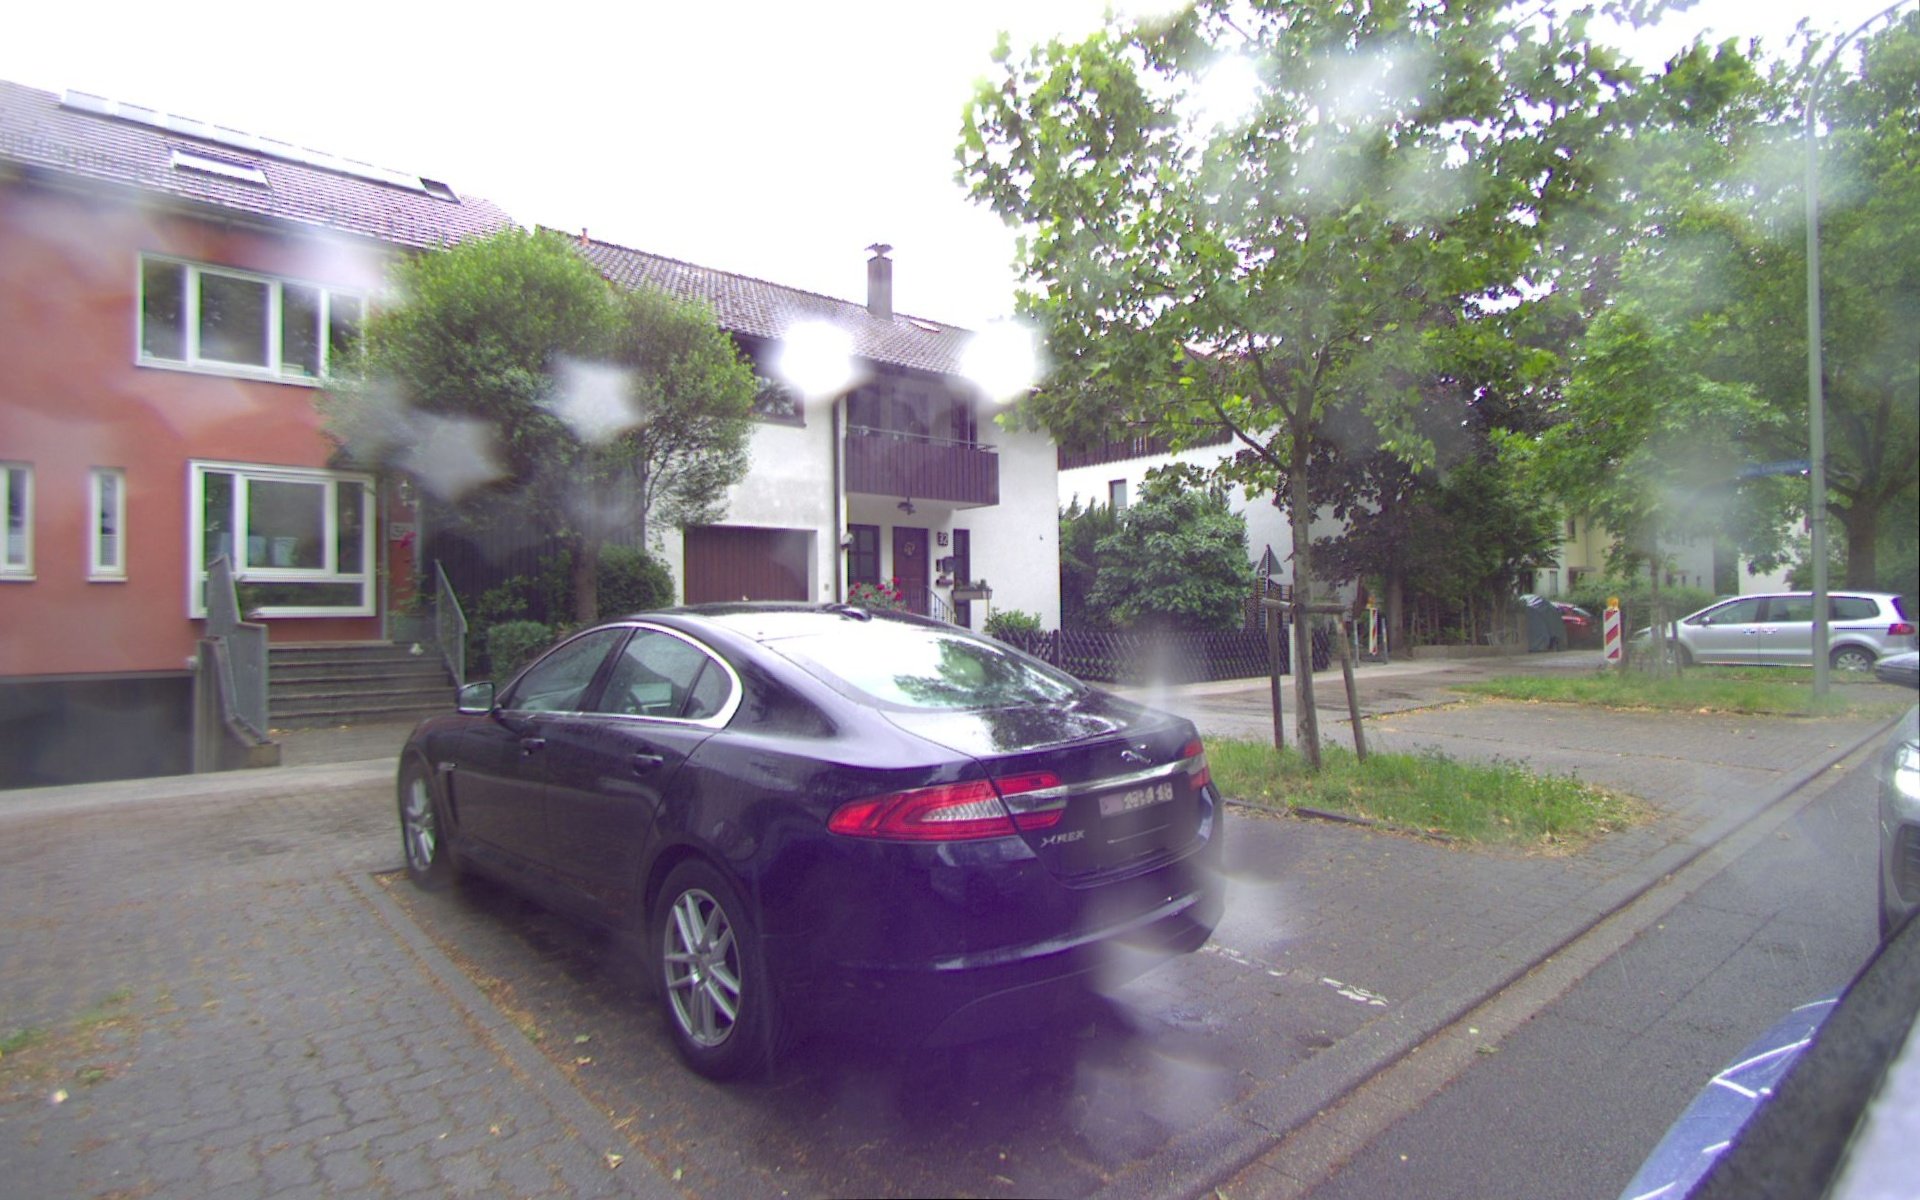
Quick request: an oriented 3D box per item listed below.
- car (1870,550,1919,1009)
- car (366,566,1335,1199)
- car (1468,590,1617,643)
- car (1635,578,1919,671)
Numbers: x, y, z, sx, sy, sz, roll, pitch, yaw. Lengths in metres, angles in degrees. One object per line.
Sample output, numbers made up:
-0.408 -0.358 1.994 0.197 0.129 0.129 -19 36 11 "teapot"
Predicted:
5.592 0.641 4.421 4.346 1.638 1.861 0 0 -41 "car"
-0.990 0.666 4.663 1.906 1.491 4.768 0 0 -45 "car"
19.004 0.519 33.133 1.809 1.633 3.853 0 0 -39 "car"
16.707 0.454 20.540 1.942 1.682 4.694 0 0 -42 "car"
